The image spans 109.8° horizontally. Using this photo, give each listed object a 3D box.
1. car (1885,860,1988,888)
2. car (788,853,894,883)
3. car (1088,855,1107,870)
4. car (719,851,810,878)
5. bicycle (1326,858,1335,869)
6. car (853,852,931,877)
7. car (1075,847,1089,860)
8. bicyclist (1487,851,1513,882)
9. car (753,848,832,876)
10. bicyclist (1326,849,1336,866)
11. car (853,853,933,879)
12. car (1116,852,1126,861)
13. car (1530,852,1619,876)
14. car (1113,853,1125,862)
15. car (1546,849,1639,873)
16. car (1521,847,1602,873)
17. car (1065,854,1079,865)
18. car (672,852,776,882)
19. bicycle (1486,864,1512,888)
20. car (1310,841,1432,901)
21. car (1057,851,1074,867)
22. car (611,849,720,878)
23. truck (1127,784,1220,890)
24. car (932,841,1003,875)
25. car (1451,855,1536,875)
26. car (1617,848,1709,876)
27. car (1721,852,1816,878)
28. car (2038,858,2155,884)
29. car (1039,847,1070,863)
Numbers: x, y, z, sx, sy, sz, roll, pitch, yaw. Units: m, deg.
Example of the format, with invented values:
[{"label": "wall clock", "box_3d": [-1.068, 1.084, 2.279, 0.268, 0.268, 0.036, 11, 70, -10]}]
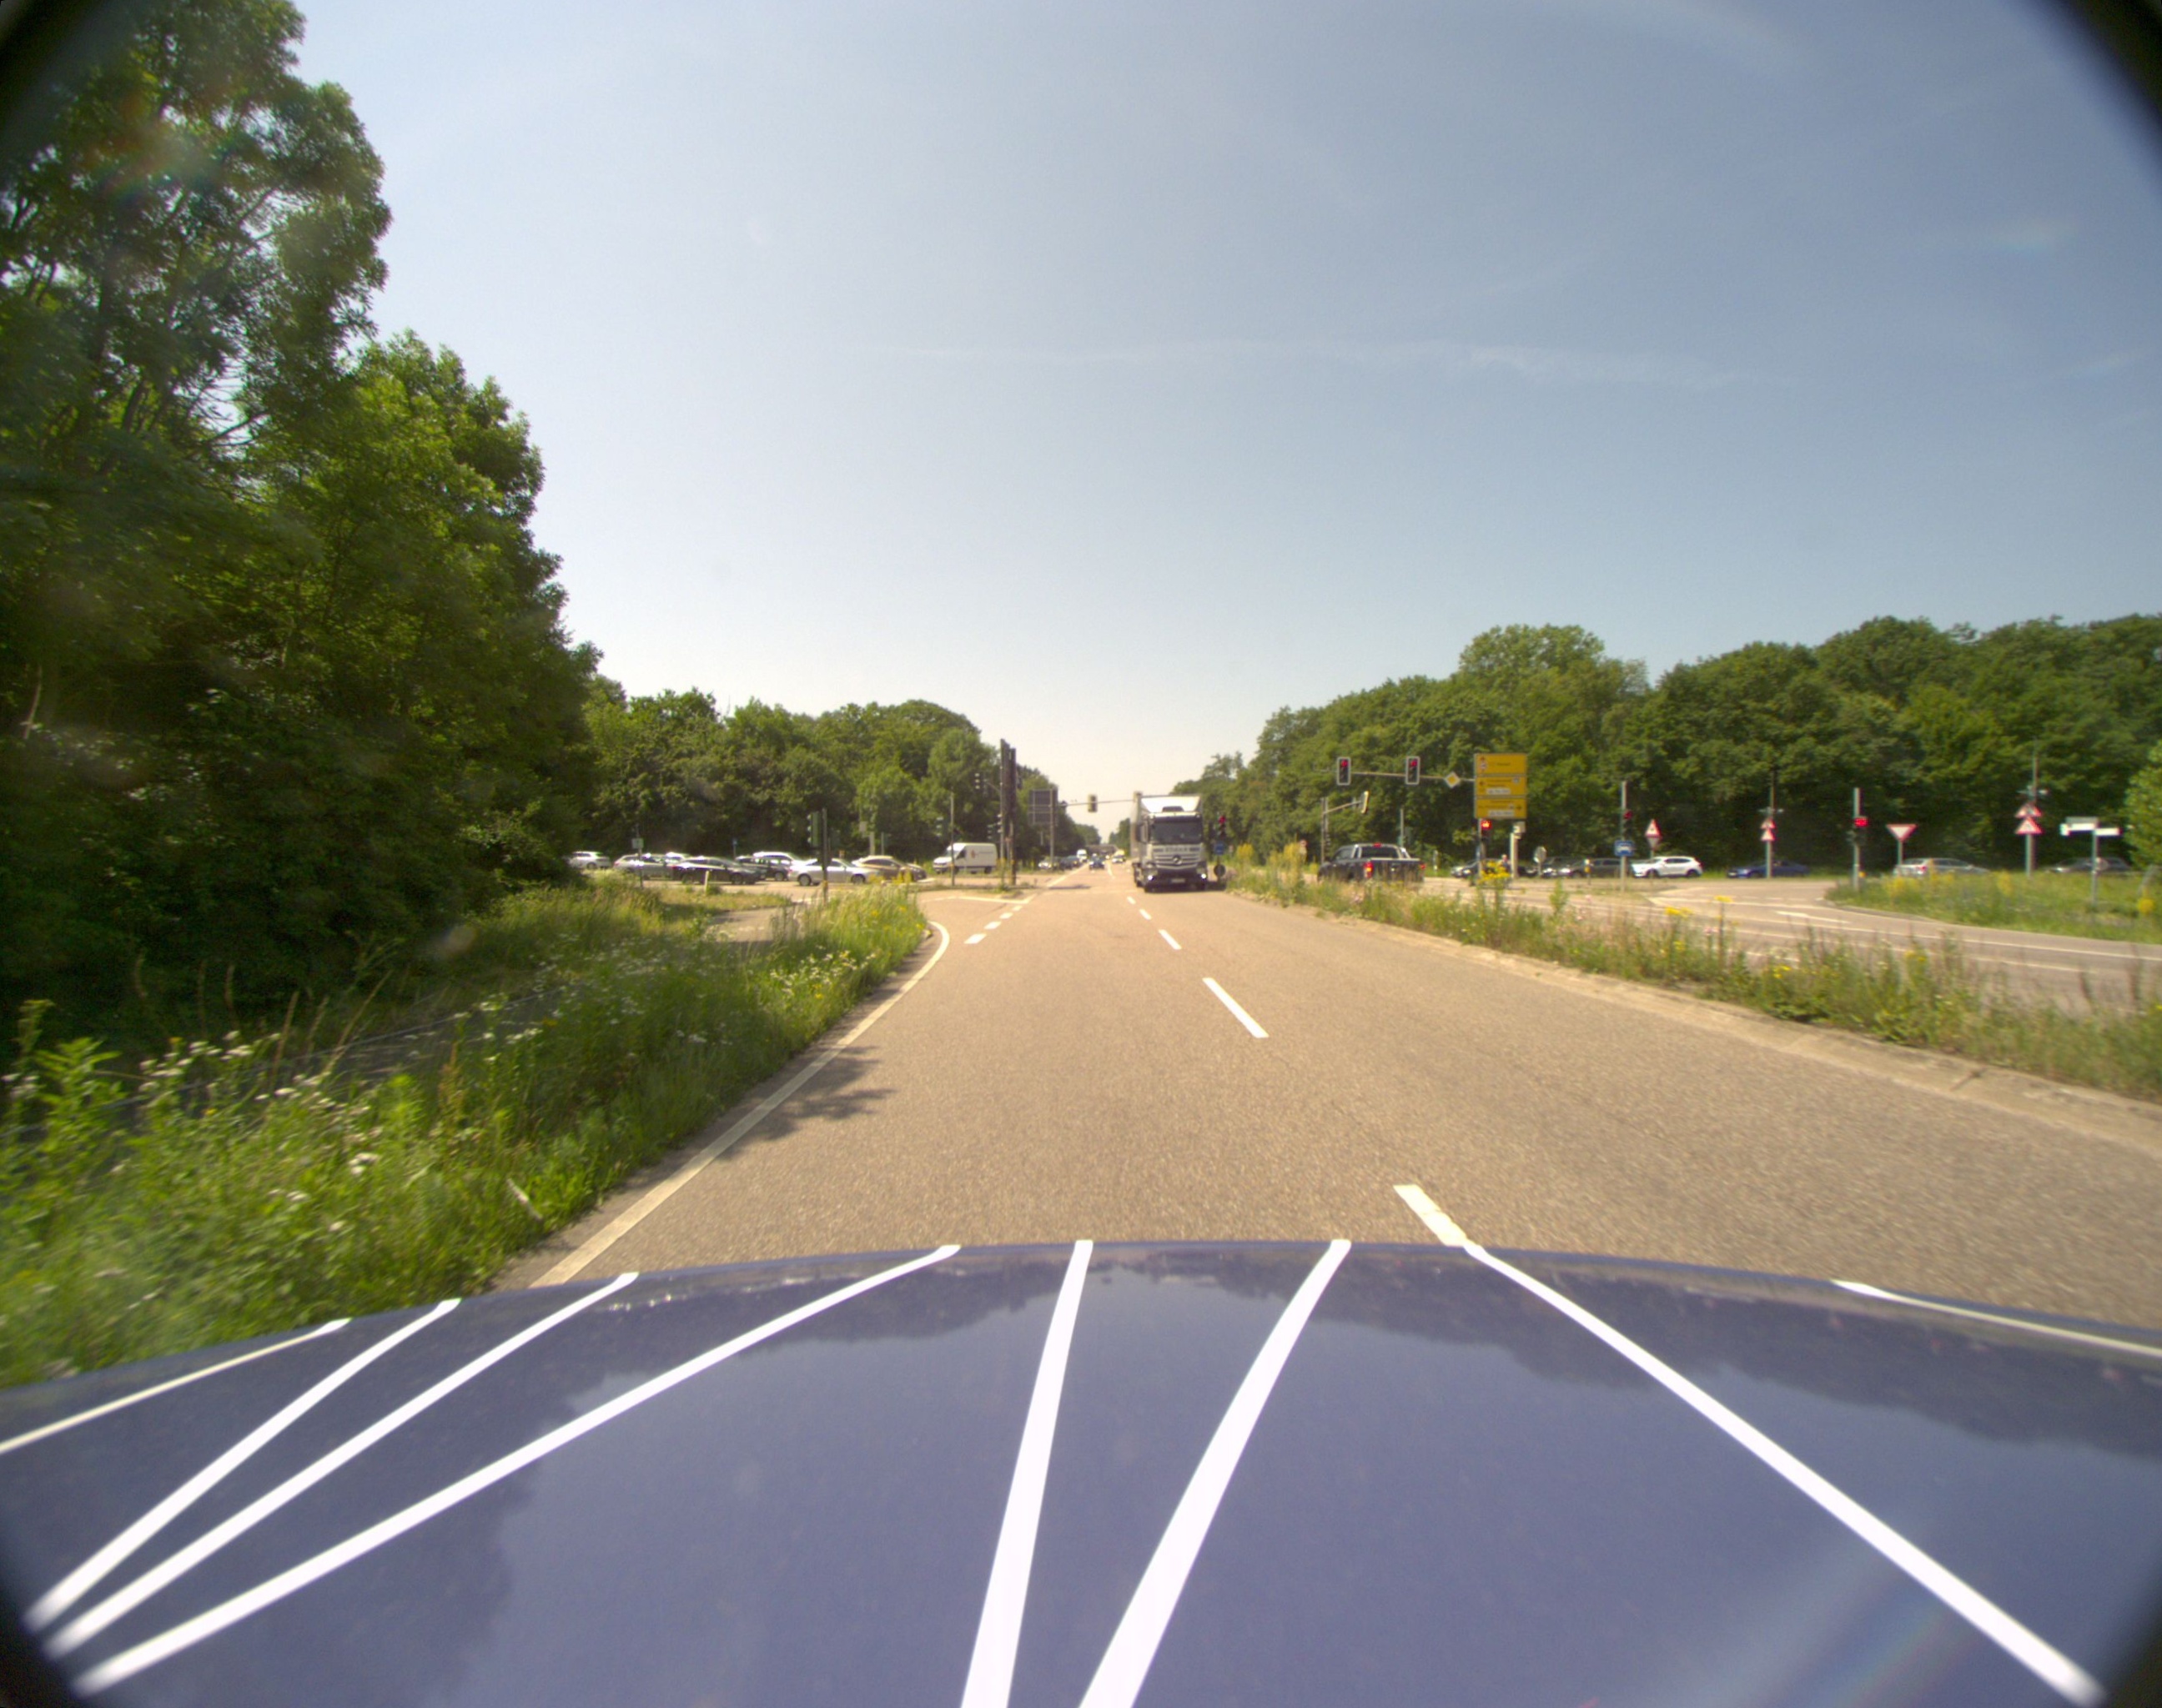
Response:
[{"label": "car", "box_3d": [47.859, 1.099, 42.551, 4.013, 1.383, 1.770, -2, 0, -4]}, {"label": "car", "box_3d": [-12.705, 0.739, 40.384, 4.943, 1.490, 2.020, 0, 1, 2]}, {"label": "car", "box_3d": [1.808, 0.928, 85.240, 1.992, 1.575, 4.364, 0, 0, 0]}, {"label": "car", "box_3d": [-18.515, 0.602, 44.655, 4.430, 1.526, 2.122, 0, 1, 1]}, {"label": "bicycle", "box_3d": [21.779, 0.841, 66.245, 0.566, 0.918, 1.606, 0, 0, 11]}, {"label": "car", "box_3d": [-11.831, 0.628, 47.801, 4.430, 1.526, 2.000, 0, 1, 0]}, {"label": "car", "box_3d": [0.243, -0.168, 160.599, 2.673, 2.685, 6.331, 0, 0, 3]}, {"label": "bicyclist", "box_3d": [19.656, 0.585, 35.658, 0.924, 1.451, 0.718, 1, 1, 39]}, {"label": "car", "box_3d": [-18.052, 0.480, 47.707, 4.182, 1.649, 2.000, 0, 1, 2]}, {"label": "bicyclist", "box_3d": [21.788, 0.298, 66.213, 0.660, 1.456, 0.810, 0, 1, 11]}, {"label": "car", "box_3d": [-10.809, 0.695, 43.918, 4.102, 1.438, 1.995, 0, 1, 0]}, {"label": "car", "box_3d": [8.373, 0.450, 161.110, 1.998, 1.867, 4.000, 0, 0, 1]}, {"label": "car", "box_3d": [34.509, 0.690, 53.262, 4.815, 1.626, 2.001, 0, 1, 5]}, {"label": "car", "box_3d": [6.566, 0.563, 133.096, 1.998, 1.543, 4.000, 0, 0, 1]}, {"label": "car", "box_3d": [33.096, 0.418, 49.244, 4.817, 1.510, 1.862, 0, 1, 0]}, {"label": "car", "box_3d": [36.014, 0.465, 57.055, 4.816, 1.887, 2.000, 0, 1, 1]}, {"label": "car", "box_3d": [-1.155, 0.713, 98.908, 1.796, 1.431, 4.228, 0, 0, 0]}, {"label": "car", "box_3d": [-19.184, 0.680, 40.966, 4.628, 1.490, 2.112, 0, 1, 2]}, {"label": "bicycle", "box_3d": [19.604, 1.021, 35.603, 0.722, 1.057, 1.873, 1, 1, 39]}, {"label": "car", "box_3d": [9.053, 0.456, 24.257, 1.998, 1.668, 5.366, 1, 0, 2]}, {"label": "car", "box_3d": [-1.706, 0.526, 86.454, 1.740, 1.681, 3.735, -2, 1, 1]}, {"label": "car", "box_3d": [-24.060, 0.539, 44.106, 5.141, 1.525, 2.138, 1, 1, 2]}, {"label": "truck", "box_3d": [3.752, -0.673, 33.771, 2.753, 3.862, 11.319, -2, 0, 0]}, {"label": "car", "box_3d": [-9.403, 0.306, 63.714, 1.970, 2.629, 6.072, -1, 0, 39]}, {"label": "car", "box_3d": [28.885, 0.762, 53.372, 4.816, 1.283, 2.105, 0, 1, 2]}, {"label": "car", "box_3d": [40.673, 0.560, 53.190, 4.816, 1.885, 2.066, 0, 1, 2]}, {"label": "car", "box_3d": [47.815, 0.716, 52.923, 4.817, 1.747, 2.000, 0, 1, 0]}, {"label": "car", "box_3d": [68.237, 1.134, 51.149, 4.815, 1.626, 2.001, 0, 1, 5]}, {"label": "car", "box_3d": [-2.596, 0.061, 75.413, 1.794, 1.452, 4.234, 2, 1, 18]}]
